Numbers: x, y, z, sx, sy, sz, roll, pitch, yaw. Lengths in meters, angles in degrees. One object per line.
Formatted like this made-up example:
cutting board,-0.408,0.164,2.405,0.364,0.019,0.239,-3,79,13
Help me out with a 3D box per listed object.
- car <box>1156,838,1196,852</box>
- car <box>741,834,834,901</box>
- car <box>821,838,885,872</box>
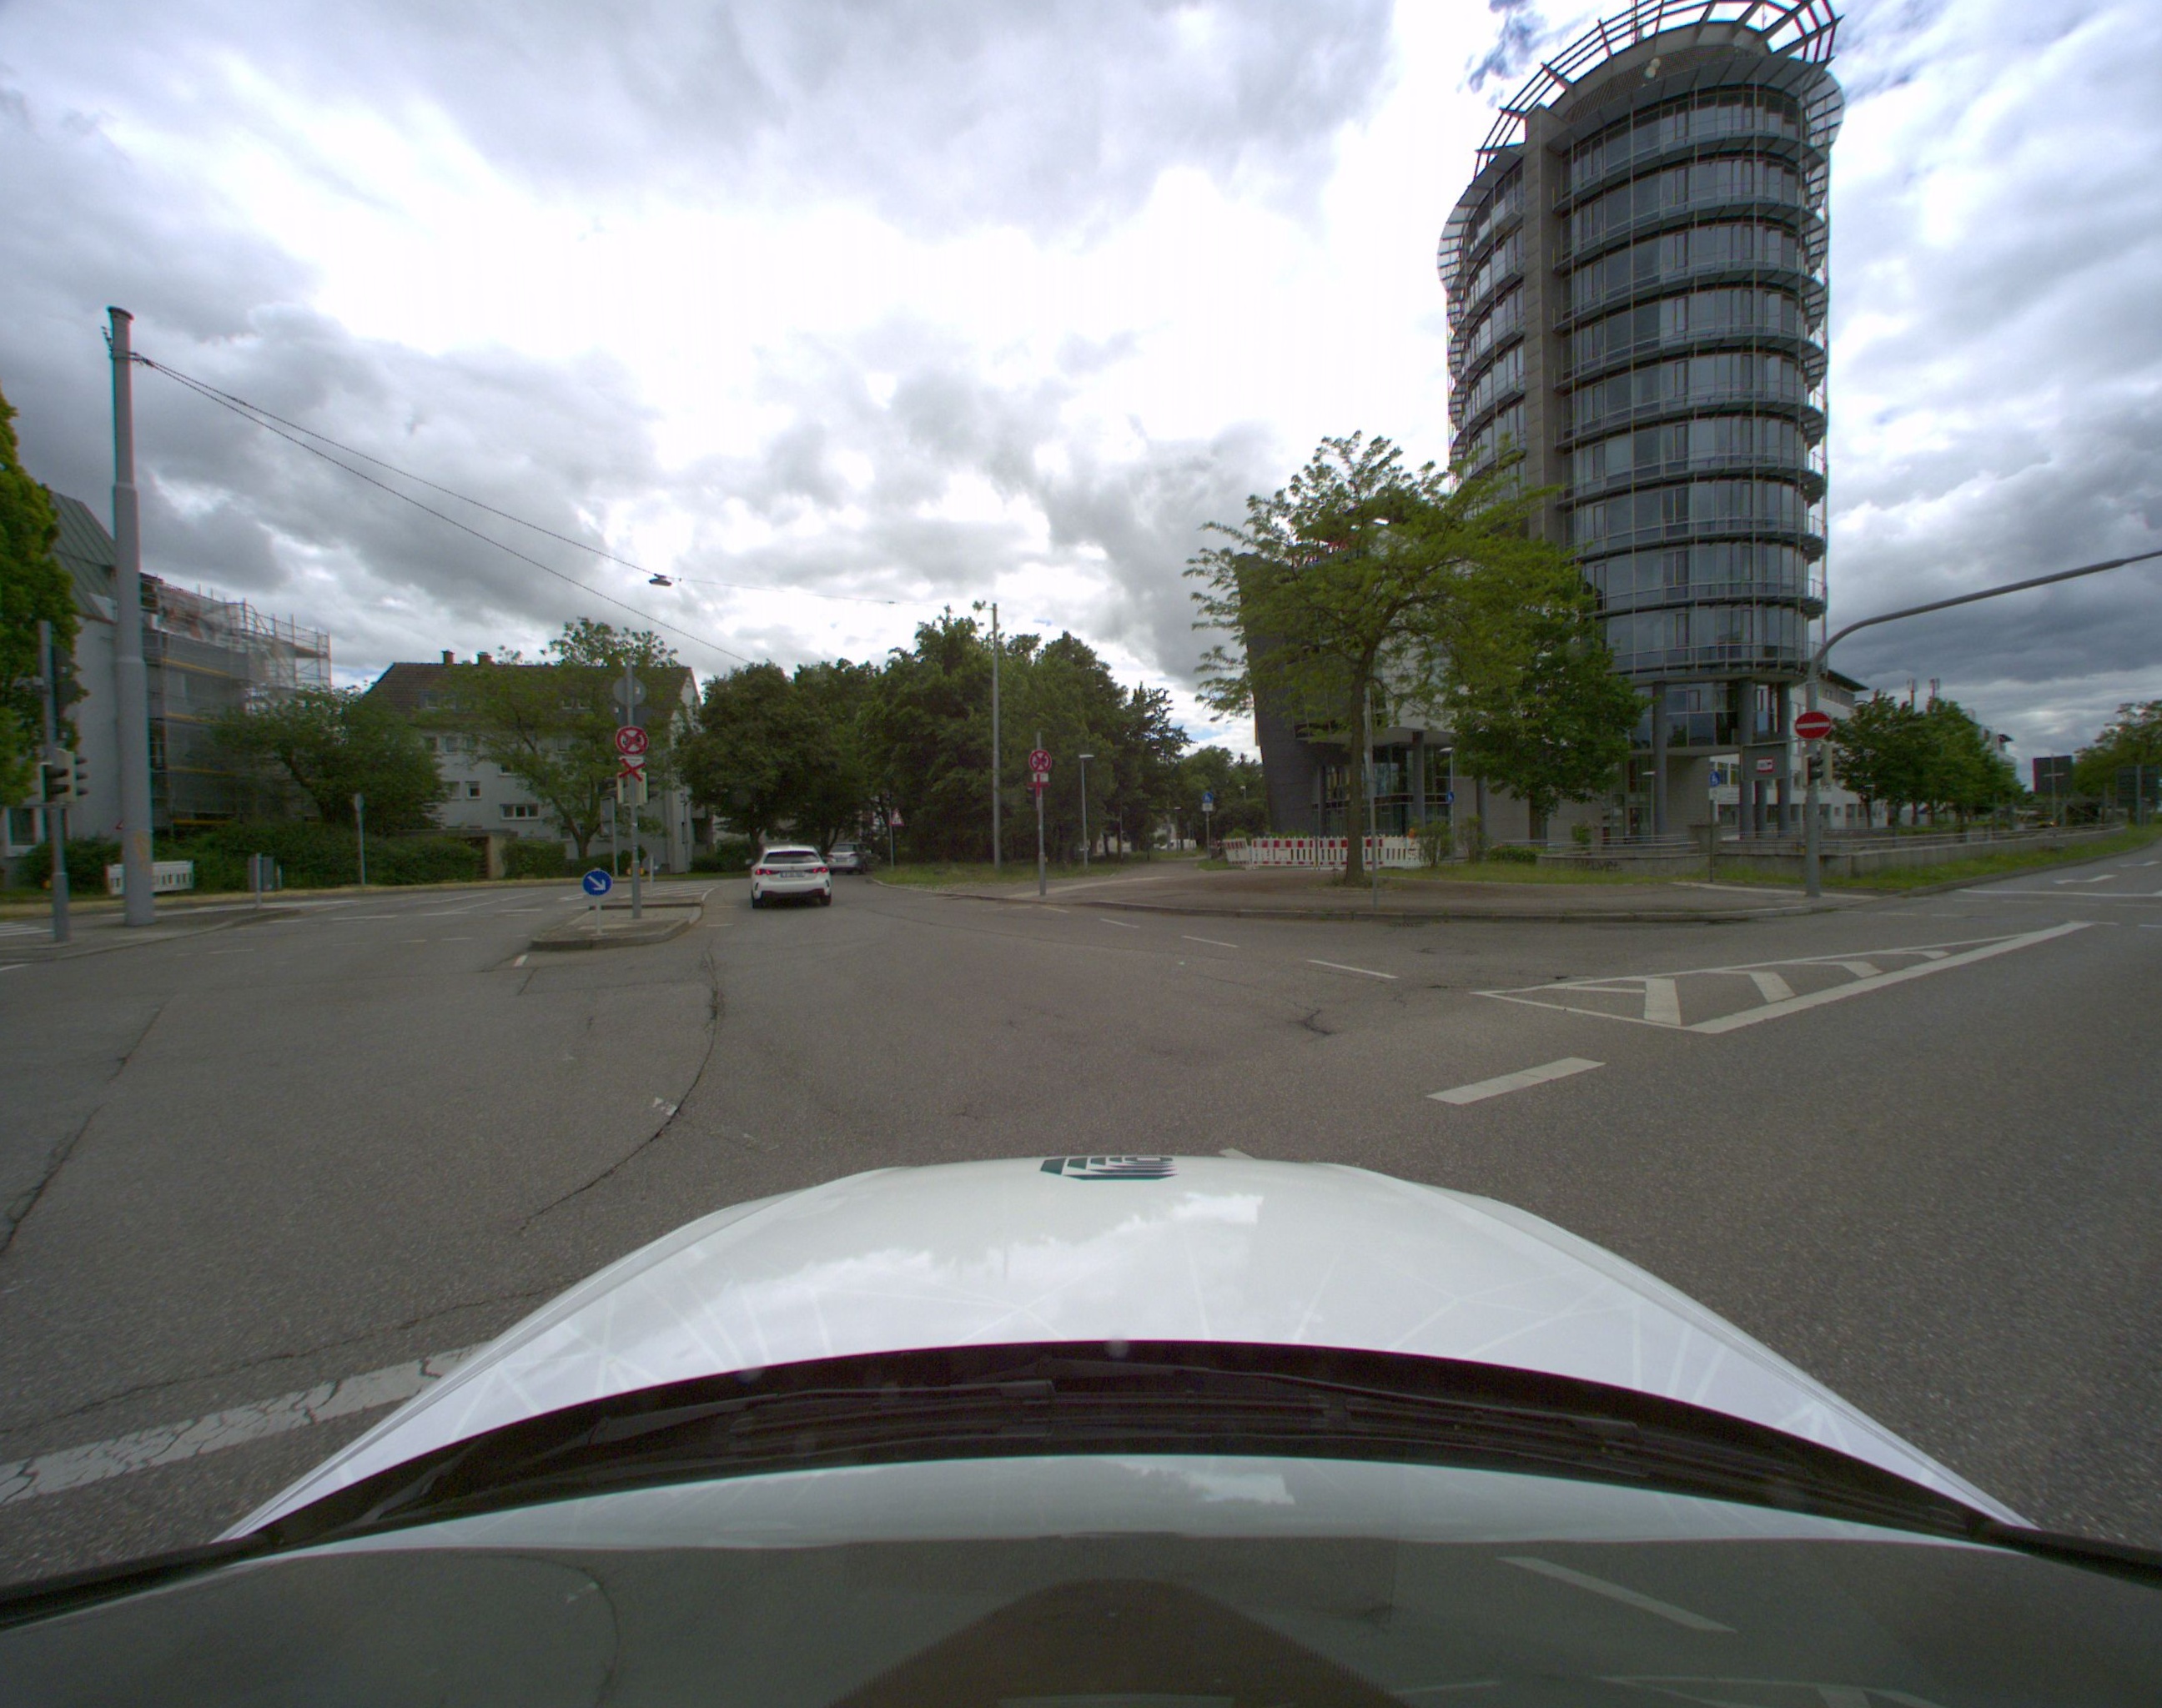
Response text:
car,17.167,-1.654,147.204,6.969,2.521,2.075,0,2,-15
car,-7.534,0.315,20.646,1.805,1.517,4.171,0,0,-26
car,-11.134,0.050,40.049,1.916,1.574,4.000,-1,0,0
